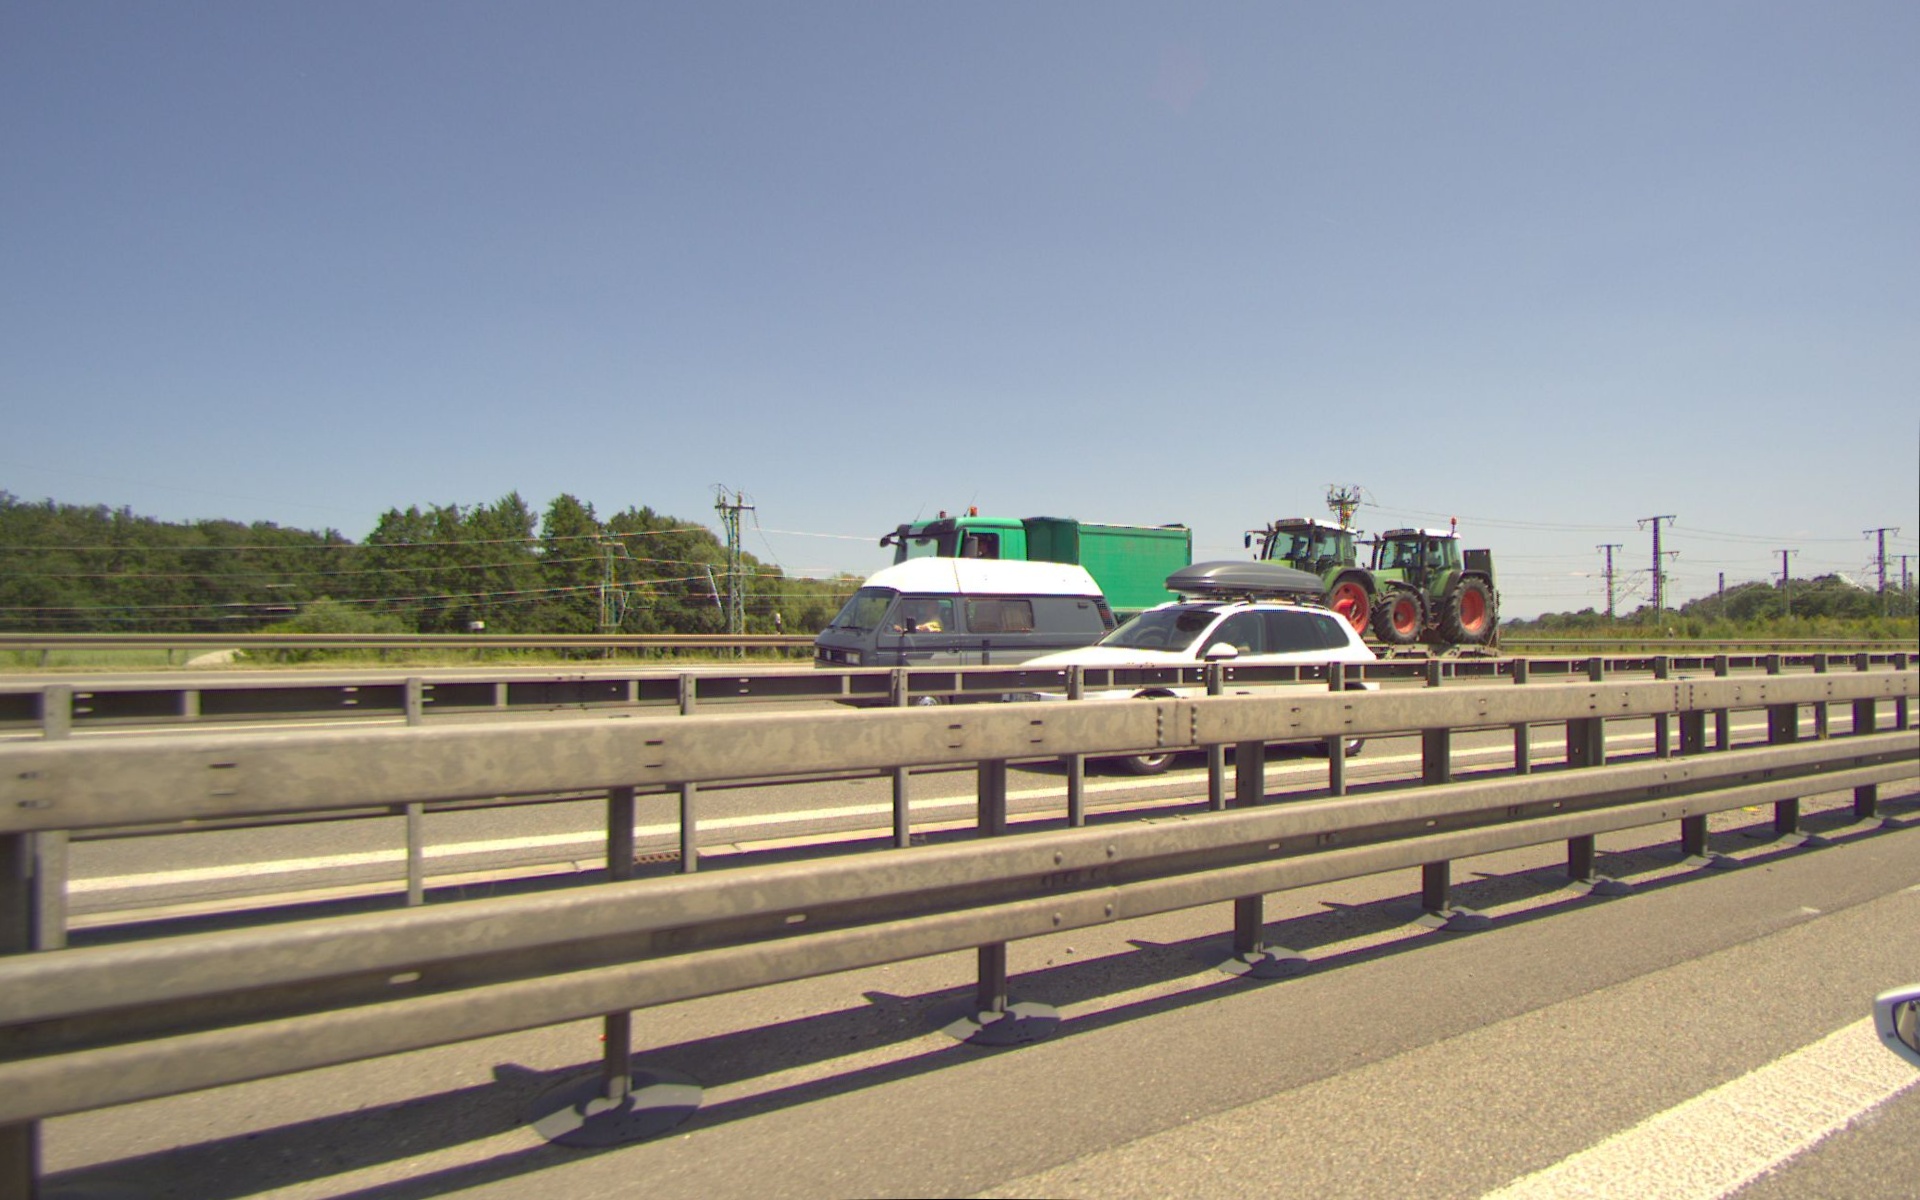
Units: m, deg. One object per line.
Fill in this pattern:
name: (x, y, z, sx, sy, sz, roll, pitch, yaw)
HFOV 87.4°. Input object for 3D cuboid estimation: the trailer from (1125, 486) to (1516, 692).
trailer: (9.299, -0.027, 24.987, 11.074, 4.301, 2.745, 2, -1, -31)

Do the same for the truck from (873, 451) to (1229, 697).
truck: (1.972, -0.330, 20.535, 6.899, 4.301, 2.745, 2, -1, -31)

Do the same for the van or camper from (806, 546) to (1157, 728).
van or camper: (0.397, 0.495, 14.457, 4.885, 2.251, 1.747, 1, 0, -31)

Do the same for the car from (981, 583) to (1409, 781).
car: (2.742, 0.817, 11.279, 4.785, 1.822, 1.798, 2, -1, -31)
